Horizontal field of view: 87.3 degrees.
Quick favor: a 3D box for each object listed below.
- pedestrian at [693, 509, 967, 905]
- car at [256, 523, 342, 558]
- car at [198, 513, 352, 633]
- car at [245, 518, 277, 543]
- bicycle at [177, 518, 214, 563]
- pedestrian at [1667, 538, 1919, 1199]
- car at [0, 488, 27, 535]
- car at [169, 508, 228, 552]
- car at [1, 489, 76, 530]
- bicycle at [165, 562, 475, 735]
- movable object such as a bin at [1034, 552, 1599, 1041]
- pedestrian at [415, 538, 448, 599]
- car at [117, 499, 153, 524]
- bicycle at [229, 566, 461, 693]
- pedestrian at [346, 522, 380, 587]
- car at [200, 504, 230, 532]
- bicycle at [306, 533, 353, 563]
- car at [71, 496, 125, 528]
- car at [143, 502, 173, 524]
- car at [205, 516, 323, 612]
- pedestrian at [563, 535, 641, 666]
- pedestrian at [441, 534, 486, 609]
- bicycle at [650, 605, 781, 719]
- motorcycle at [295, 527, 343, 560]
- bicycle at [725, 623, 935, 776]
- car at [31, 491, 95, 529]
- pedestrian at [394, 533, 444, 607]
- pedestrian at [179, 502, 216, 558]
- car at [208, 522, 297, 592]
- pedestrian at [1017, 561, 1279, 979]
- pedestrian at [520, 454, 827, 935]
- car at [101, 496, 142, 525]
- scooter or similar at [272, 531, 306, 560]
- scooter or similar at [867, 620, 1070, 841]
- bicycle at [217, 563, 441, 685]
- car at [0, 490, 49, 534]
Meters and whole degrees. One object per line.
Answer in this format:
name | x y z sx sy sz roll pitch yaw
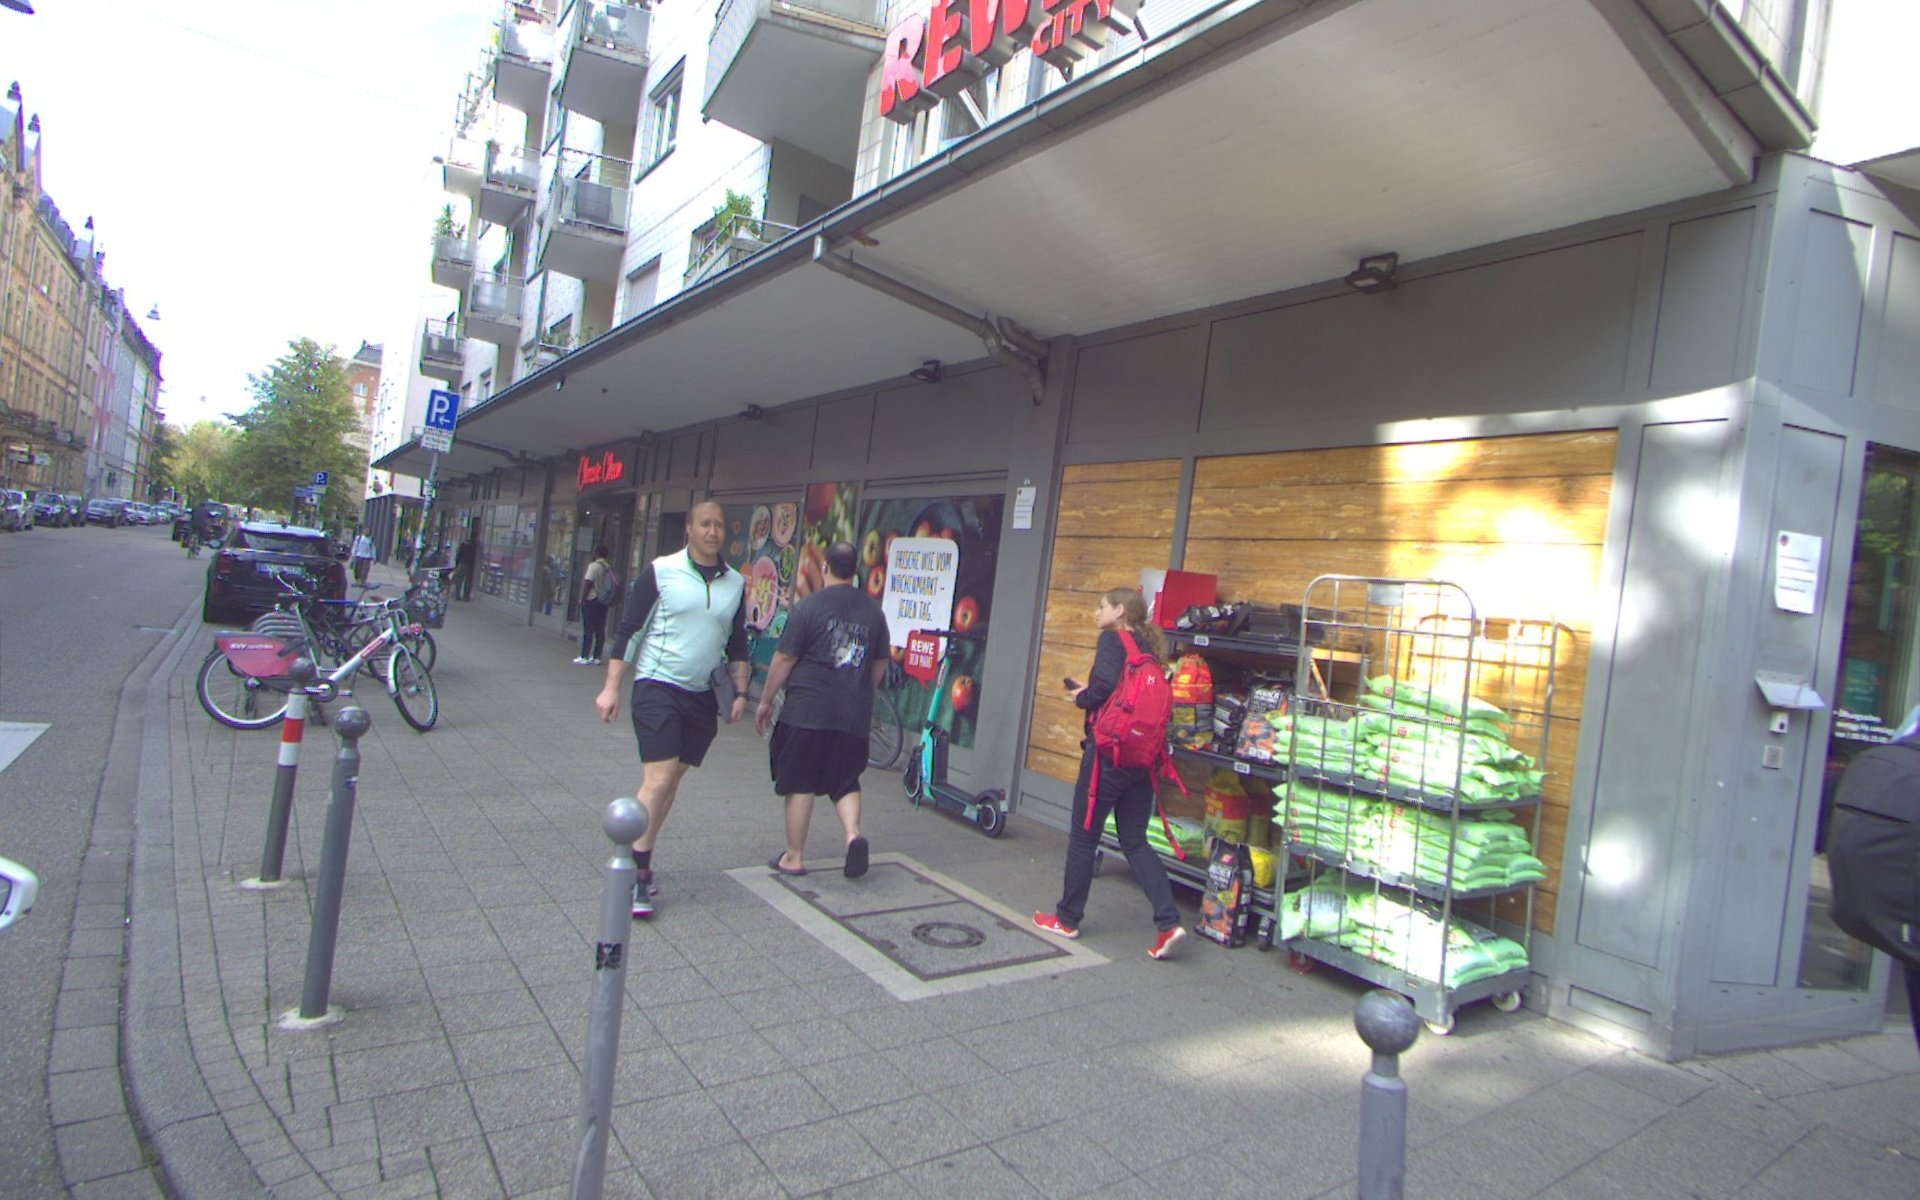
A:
pedestrian | -0.690 0.475 5.139 0.844 1.770 1.038 4 2 -37
car | -37.542 -3.370 57.147 1.709 1.565 3.749 5 0 44
car | -11.156 -0.494 16.453 1.780 1.626 3.887 5 1 -34
car | -57.758 -5.773 83.151 1.920 1.657 3.962 9 -1 -35
bicycle | -24.814 -1.944 32.683 0.714 1.289 1.866 9 -1 -34
pedestrian | 2.116 0.819 2.074 0.701 1.822 0.631 5 3 -2
car | -32.313 -3.032 33.024 1.732 1.501 3.947 9 -2 -34
car | -37.084 -3.387 49.078 1.954 1.761 4.004 9 -2 -35
car | -39.678 -3.879 43.393 1.681 1.402 3.831 9 -2 -34
bicycle | -4.889 0.385 7.763 1.871 1.140 0.898 5 2 -38
movable object such as a bin | 1.542 0.729 4.930 0.775 1.766 2.398 7 0 -37
pedestrian | -14.822 -0.891 28.191 0.639 1.609 0.773 5 1 -33
car | -62.808 -6.717 76.608 1.682 1.568 3.829 9 -2 -36
bicycle | -5.935 0.316 9.788 0.561 1.084 1.782 8 2 44
pedestrian | -17.127 -1.315 28.857 0.608 1.748 1.116 6 1 -34
car | -63.097 -6.965 85.218 1.773 2.043 3.849 9 -1 -36
bicycle | -28.682 -2.351 45.769 1.753 1.177 0.644 5 2 -33
car | -48.703 -4.960 56.873 1.683 1.383 3.831 13 -4 -34
car | -71.099 -7.700 89.224 1.682 1.568 3.829 9 -2 -36
car | -14.067 -0.764 20.280 1.679 1.596 3.863 7 0 -36
pedestrian | -5.108 -0.001 14.335 0.709 1.770 0.808 4 2 -37
pedestrian | -13.267 -0.754 26.874 0.697 1.883 0.644 7 0 -6
bicycle | -2.721 0.654 11.054 0.737 1.028 1.766 4 1 -35
motorcycle | -35.539 -3.143 55.803 2.133 1.550 0.680 5 2 -31
bicycle | -1.150 0.827 8.733 1.707 1.055 0.676 6 0 35
car | -43.224 -4.305 48.553 1.681 1.454 3.831 9 -2 -34
pedestrian | -12.692 -0.705 23.607 0.818 1.608 0.773 7 0 -34
pedestrian | -24.711 -2.265 32.596 0.714 1.669 0.921 9 0 -34
car | -17.716 -1.126 25.316 1.585 1.457 3.993 7 0 -34
pedestrian | 0.831 0.697 4.508 0.718 1.654 0.705 4 2 -37
pedestrian | -1.318 0.369 4.537 0.879 1.858 1.036 4 2 -37
car | -55.856 -5.947 67.060 1.682 1.567 3.829 10 -2 -36
scooter or similar | -29.811 -2.422 44.708 1.187 1.163 0.378 6 3 -4
scooter or similar | 0.025 0.818 6.731 0.628 1.229 1.243 4 2 -37
bicycle | -6.362 0.273 10.214 0.579 1.084 1.782 8 2 44
car | -34.679 -3.245 36.562 1.681 1.402 3.831 9 -2 -34
